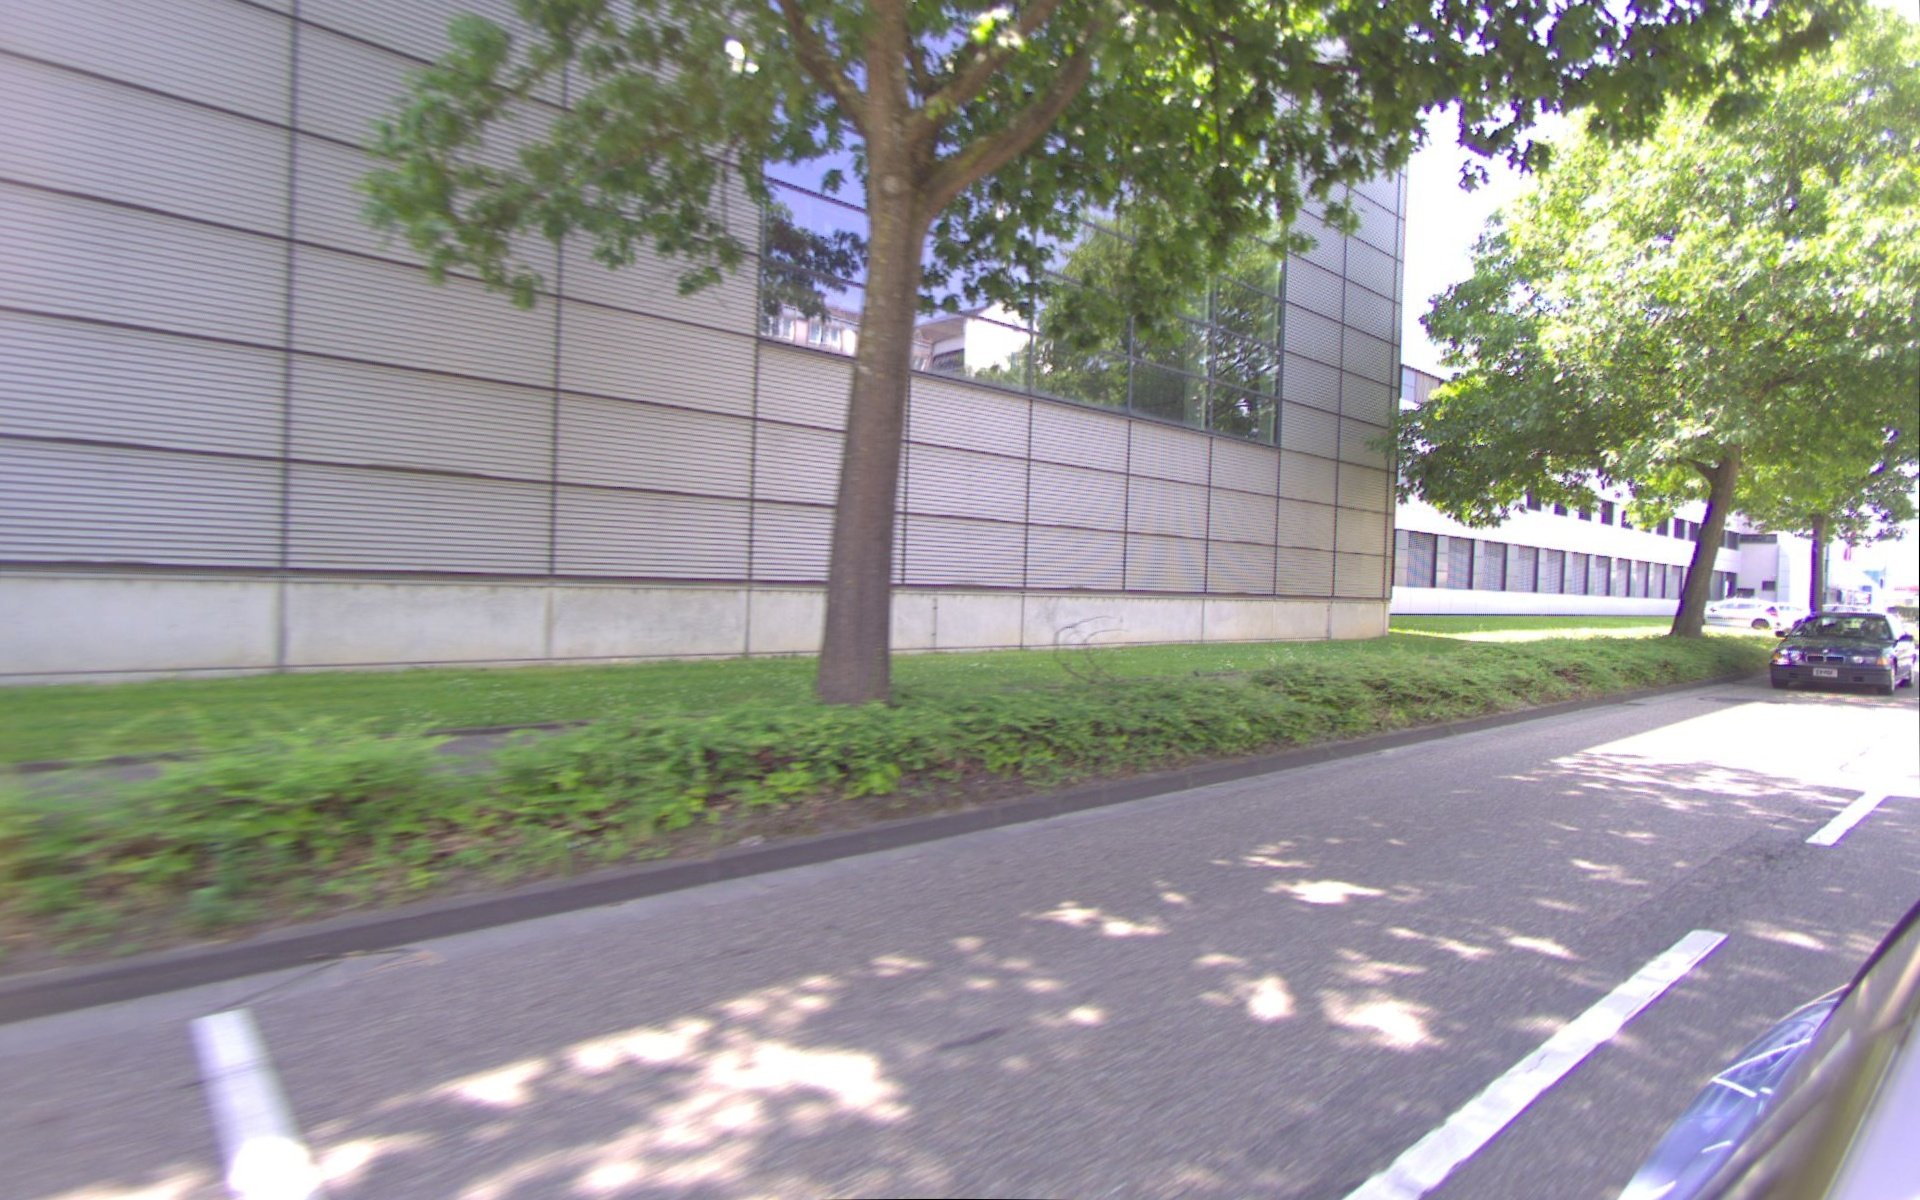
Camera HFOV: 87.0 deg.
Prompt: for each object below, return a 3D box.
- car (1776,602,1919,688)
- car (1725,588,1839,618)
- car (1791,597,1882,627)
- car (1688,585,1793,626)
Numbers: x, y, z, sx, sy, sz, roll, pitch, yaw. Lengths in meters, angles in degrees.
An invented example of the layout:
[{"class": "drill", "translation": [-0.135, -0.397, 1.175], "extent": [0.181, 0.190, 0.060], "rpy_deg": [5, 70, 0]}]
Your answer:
[{"class": "car", "translation": [16.077, 0.760, 18.045], "extent": [3.688, 1.356, 1.632], "rpy_deg": [1, 0, -39]}, {"class": "car", "translation": [44.864, 0.129, 55.295], "extent": [4.616, 1.407, 1.968], "rpy_deg": [4, 3, 45]}, {"class": "car", "translation": [56.812, 0.755, 65.652], "extent": [1.967, 1.710, 4.263], "rpy_deg": [0, 3, -44]}, {"class": "car", "translation": [38.383, 0.250, 49.797], "extent": [1.704, 1.611, 3.817], "rpy_deg": [1, 4, -44]}]
